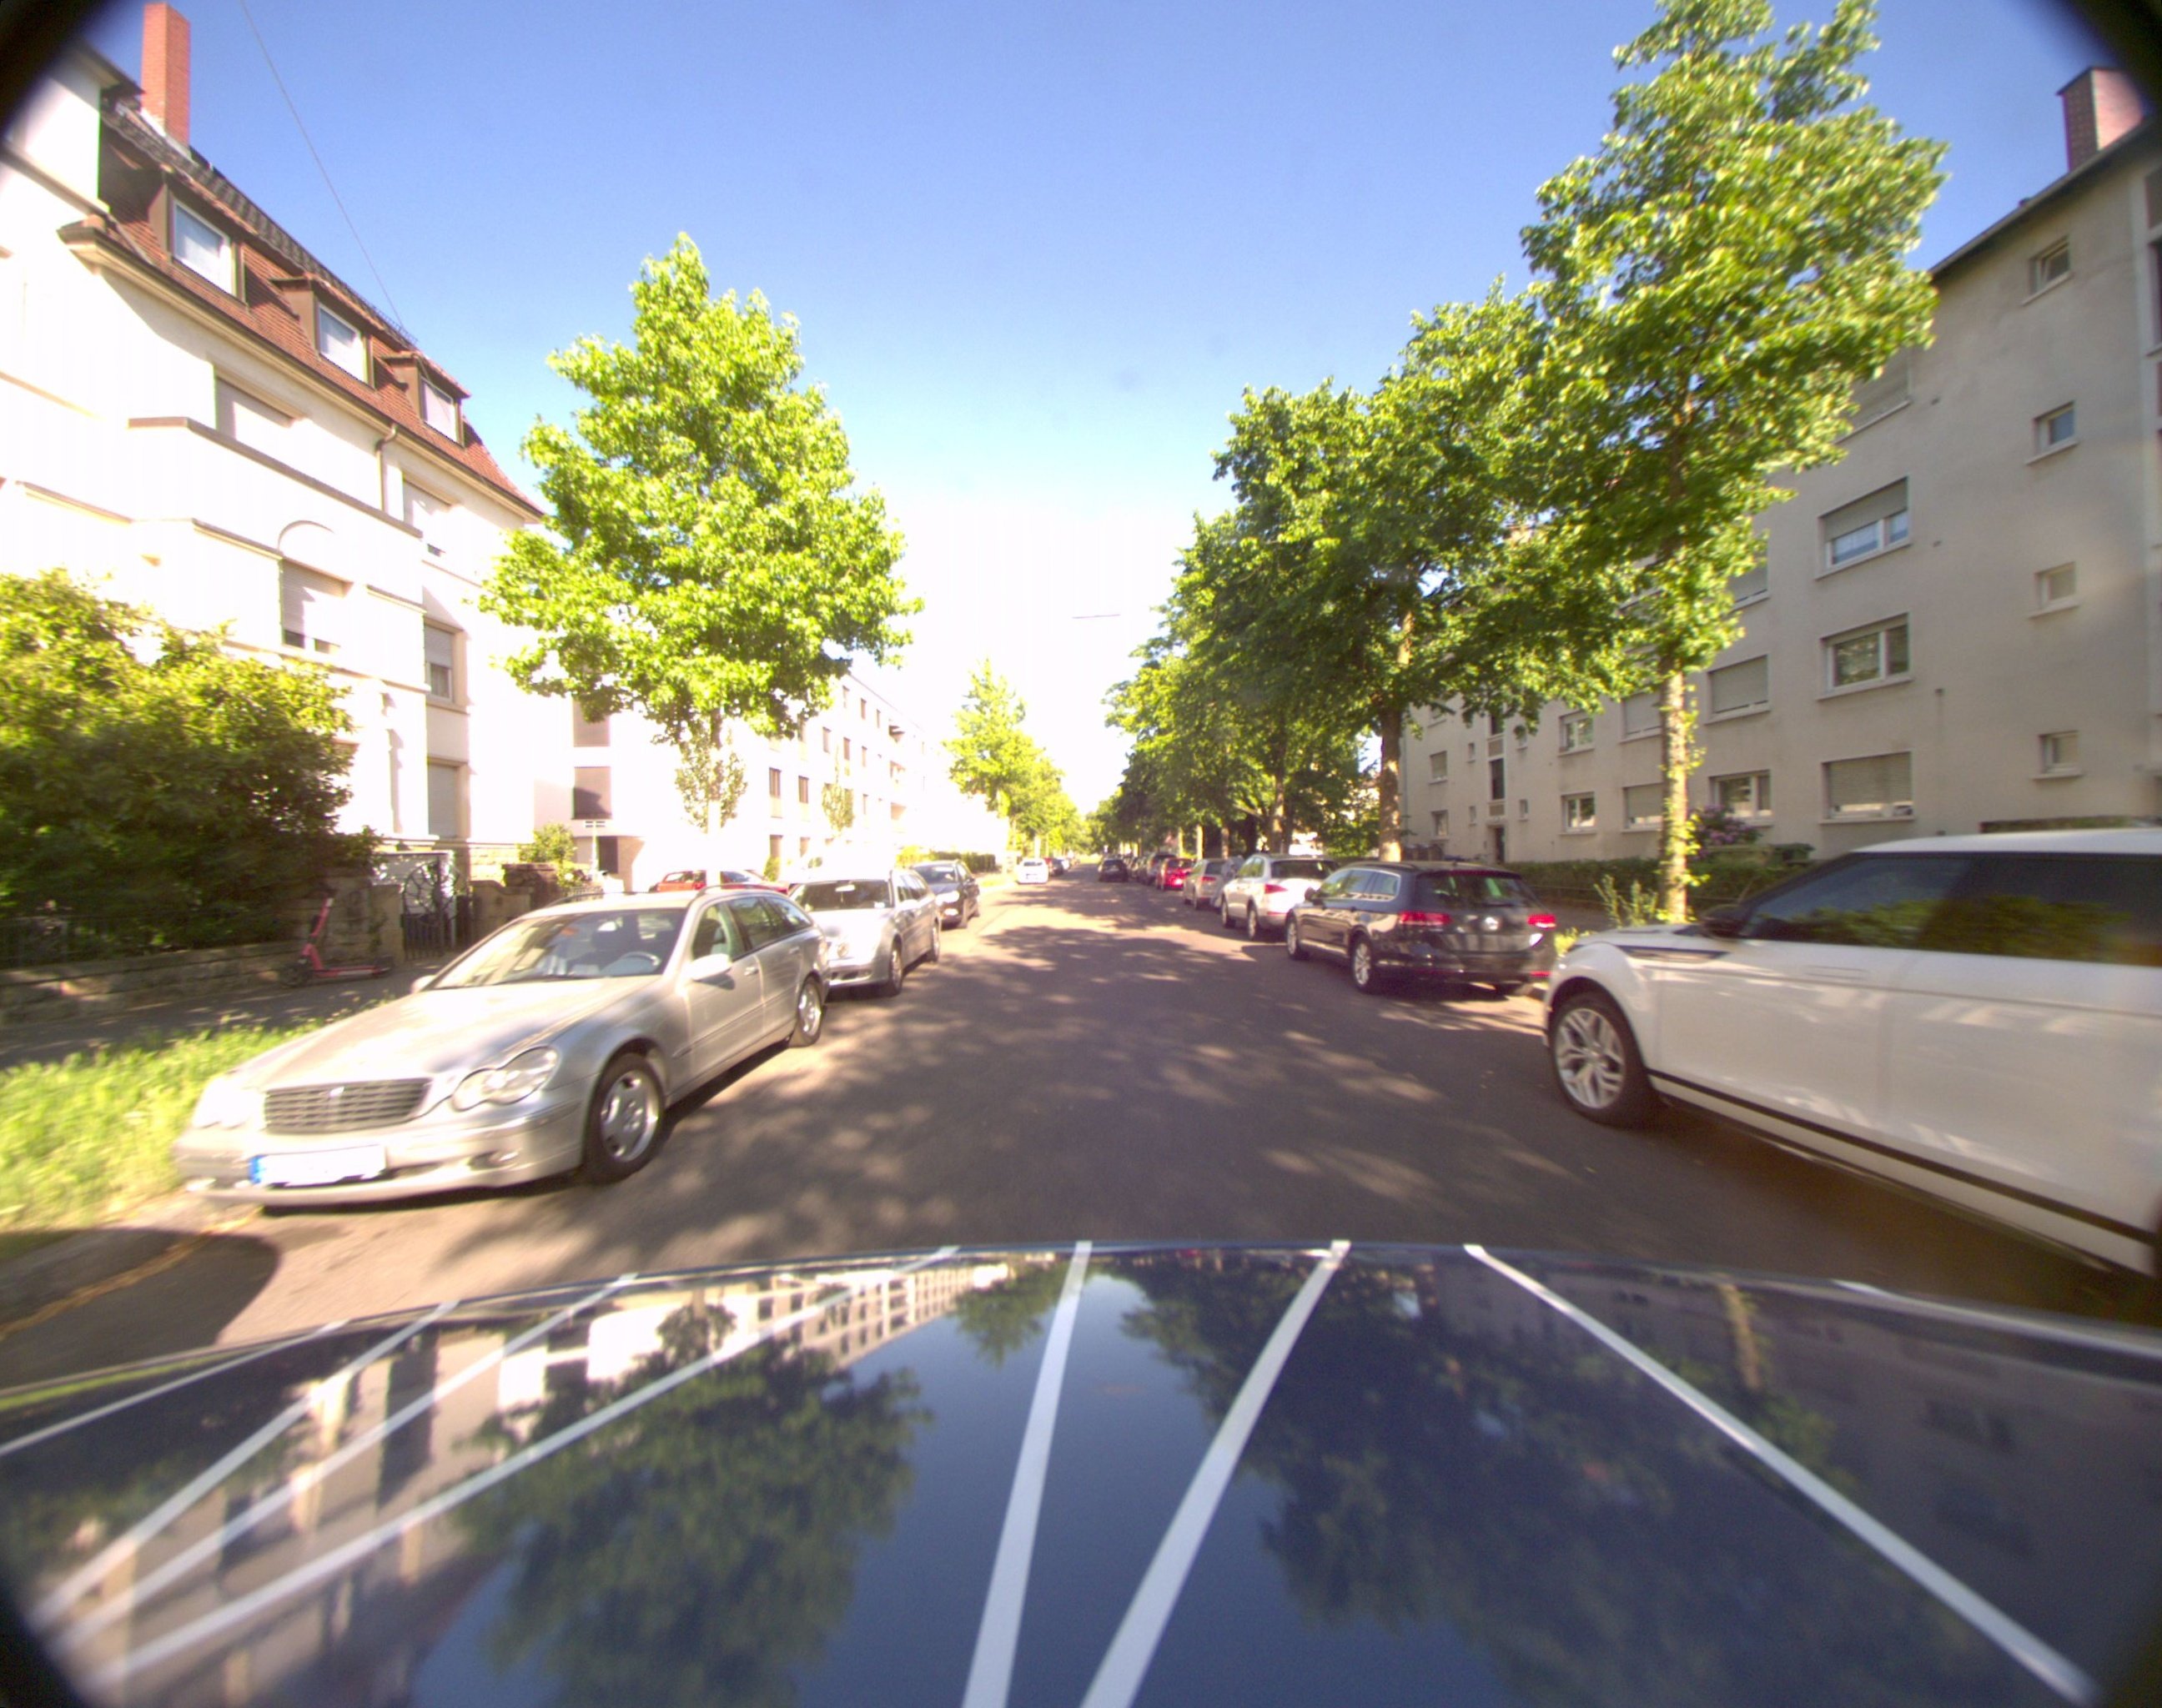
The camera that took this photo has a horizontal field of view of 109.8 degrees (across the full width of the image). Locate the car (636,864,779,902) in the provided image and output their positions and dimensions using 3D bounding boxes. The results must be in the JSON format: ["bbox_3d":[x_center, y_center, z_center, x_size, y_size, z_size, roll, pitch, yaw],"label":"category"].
[{"bbox_3d":[-15.547,1.197,31.855,4.941,1.461,2.047,-1,0,-1],"label":"car"}]

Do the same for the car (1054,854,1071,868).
[{"bbox_3d":[-2.132,0.780,85.992,1.786,1.509,4.685,-2,0,-4],"label":"car"}]

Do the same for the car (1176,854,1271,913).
[{"bbox_3d":[4.104,0.791,22.581,2.048,1.515,4.606,-1,0,1],"label":"car"}]

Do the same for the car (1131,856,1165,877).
[{"bbox_3d":[4.433,0.803,51.054,1.789,1.344,4.481,0,0,-1],"label":"car"}]

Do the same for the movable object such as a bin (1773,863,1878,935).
[{"bbox_3d":[11.750,0.692,12.014,0.932,1.086,0.754,-1,1,-5],"label":"movable object such as a bin"}]

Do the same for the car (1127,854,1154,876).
[{"bbox_3d":[4.385,0.767,56.267,1.710,1.568,4.482,0,0,1],"label":"car"}]

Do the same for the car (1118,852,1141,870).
[{"bbox_3d":[4.629,0.623,73.356,1.846,1.647,5.087,0,0,0],"label":"car"}]

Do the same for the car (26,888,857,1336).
[{"bbox_3d":[-3.155,1.095,5.342,1.715,1.402,4.861,-3,0,-1],"label":"car"}]

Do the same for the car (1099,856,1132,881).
[{"bbox_3d":[2.089,0.836,46.998,1.813,1.437,4.365,0,0,-1],"label":"car"}]

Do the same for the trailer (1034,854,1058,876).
[{"bbox_3d":[-2.792,0.853,60.963,1.578,1.569,3.192,-3,0,2],"label":"trailer"}]

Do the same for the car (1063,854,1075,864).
[{"bbox_3d":[-1.826,0.733,119.053,1.670,1.456,3.536,0,0,2],"label":"car"}]

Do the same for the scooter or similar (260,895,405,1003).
[{"bbox_3d":[-9.075,1.113,9.265,0.402,1.178,1.207,-1,0,16],"label":"scooter or similar"}]

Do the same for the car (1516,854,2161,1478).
[{"bbox_3d":[3.694,0.841,2.678,1.733,1.608,4.365,2,0,-1],"label":"car"}]

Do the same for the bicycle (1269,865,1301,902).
[{"bbox_3d":[6.386,0.891,23.896,0.532,1.009,2.091,-8,0,6],"label":"bicycle"}]

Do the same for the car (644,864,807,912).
[{"bbox_3d":[-11.794,1.122,25.287,4.724,1.461,1.955,-1,1,15],"label":"car"}]

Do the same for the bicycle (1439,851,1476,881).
[{"bbox_3d":[15.724,0.479,31.768,0.687,1.194,1.912,-1,0,3],"label":"bicycle"}]

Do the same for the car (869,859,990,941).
[{"bbox_3d":[-3.417,0.957,18.116,1.900,1.515,4.965,-2,1,-1],"label":"car"}]

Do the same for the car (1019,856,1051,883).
[{"bbox_3d":[-2.731,0.910,46.042,1.737,1.478,4.008,-2,0,-1],"label":"car"}]

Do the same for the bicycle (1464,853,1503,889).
[{"bbox_3d":[14.800,0.615,27.985,0.399,1.281,1.914,-1,0,0],"label":"bicycle"}]

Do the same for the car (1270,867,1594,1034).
[{"bbox_3d":[3.835,0.930,9.404,1.732,1.438,4.820,1,0,0],"label":"car"}]

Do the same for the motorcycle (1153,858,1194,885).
[{"bbox_3d":[4.547,0.869,37.430,1.957,1.324,0.788,-1,1,8],"label":"motorcycle"}]

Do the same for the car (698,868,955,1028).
[{"bbox_3d":[-3.043,1.023,10.330,1.826,1.461,4.908,-3,0,-1],"label":"car"}]

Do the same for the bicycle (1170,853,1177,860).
[{"bbox_3d":[11.647,0.342,95.366,0.596,0.911,1.903,0,0,-1],"label":"bicycle"}]

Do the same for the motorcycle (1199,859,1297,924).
[{"bbox_3d":[4.109,0.878,18.807,0.991,1.495,2.227,-1,1,-39],"label":"motorcycle"}]

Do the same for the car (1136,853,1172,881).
[{"bbox_3d":[4.319,0.749,45.624,1.773,1.522,4.419,-1,0,1],"label":"car"}]

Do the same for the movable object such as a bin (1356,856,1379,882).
[{"bbox_3d":[11.895,0.603,31.541,0.695,1.062,0.760,-1,1,2],"label":"movable object such as a bin"}]

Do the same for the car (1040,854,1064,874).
[{"bbox_3d":[-2.457,0.832,65.681,1.797,1.633,4.818,-3,0,0],"label":"car"}]

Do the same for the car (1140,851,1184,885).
[{"bbox_3d":[4.219,0.674,40.388,1.772,1.678,4.813,0,0,-1],"label":"car"}]

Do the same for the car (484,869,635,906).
[{"bbox_3d":[-21.638,1.378,31.665,4.940,1.420,1.962,-1,-1,0],"label":"car"}]

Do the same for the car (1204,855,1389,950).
[{"bbox_3d":[3.925,0.792,14.830,2.069,1.515,4.720,-1,0,-3],"label":"car"}]

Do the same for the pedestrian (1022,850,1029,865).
[{"bbox_3d":[-7.684,0.448,105.079,0.907,2.002,1.006,0,1,1],"label":"pedestrian"}]

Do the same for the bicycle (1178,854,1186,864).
[{"bbox_3d":[10.995,0.557,82.629,0.573,1.055,1.933,-2,1,1],"label":"bicycle"}]

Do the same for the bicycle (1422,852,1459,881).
[{"bbox_3d":[15.016,0.503,31.794,0.687,1.194,1.912,-1,0,3],"label":"bicycle"}]

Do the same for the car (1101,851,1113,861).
[{"bbox_3d":[5.088,0.343,147.795,1.891,1.797,3.913,-1,0,-3],"label":"car"}]

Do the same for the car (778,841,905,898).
[{"bbox_3d":[-10.448,0.634,33.086,5.062,2.292,2.230,-1,0,-23],"label":"car"}]

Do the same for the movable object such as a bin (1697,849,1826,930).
[{"bbox_3d":[11.645,0.574,13.063,0.932,1.316,1.378,-1,1,-5],"label":"movable object such as a bin"}]

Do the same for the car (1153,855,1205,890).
[{"bbox_3d":[4.328,0.786,34.128,1.861,1.461,4.182,-1,0,1],"label":"car"}]
